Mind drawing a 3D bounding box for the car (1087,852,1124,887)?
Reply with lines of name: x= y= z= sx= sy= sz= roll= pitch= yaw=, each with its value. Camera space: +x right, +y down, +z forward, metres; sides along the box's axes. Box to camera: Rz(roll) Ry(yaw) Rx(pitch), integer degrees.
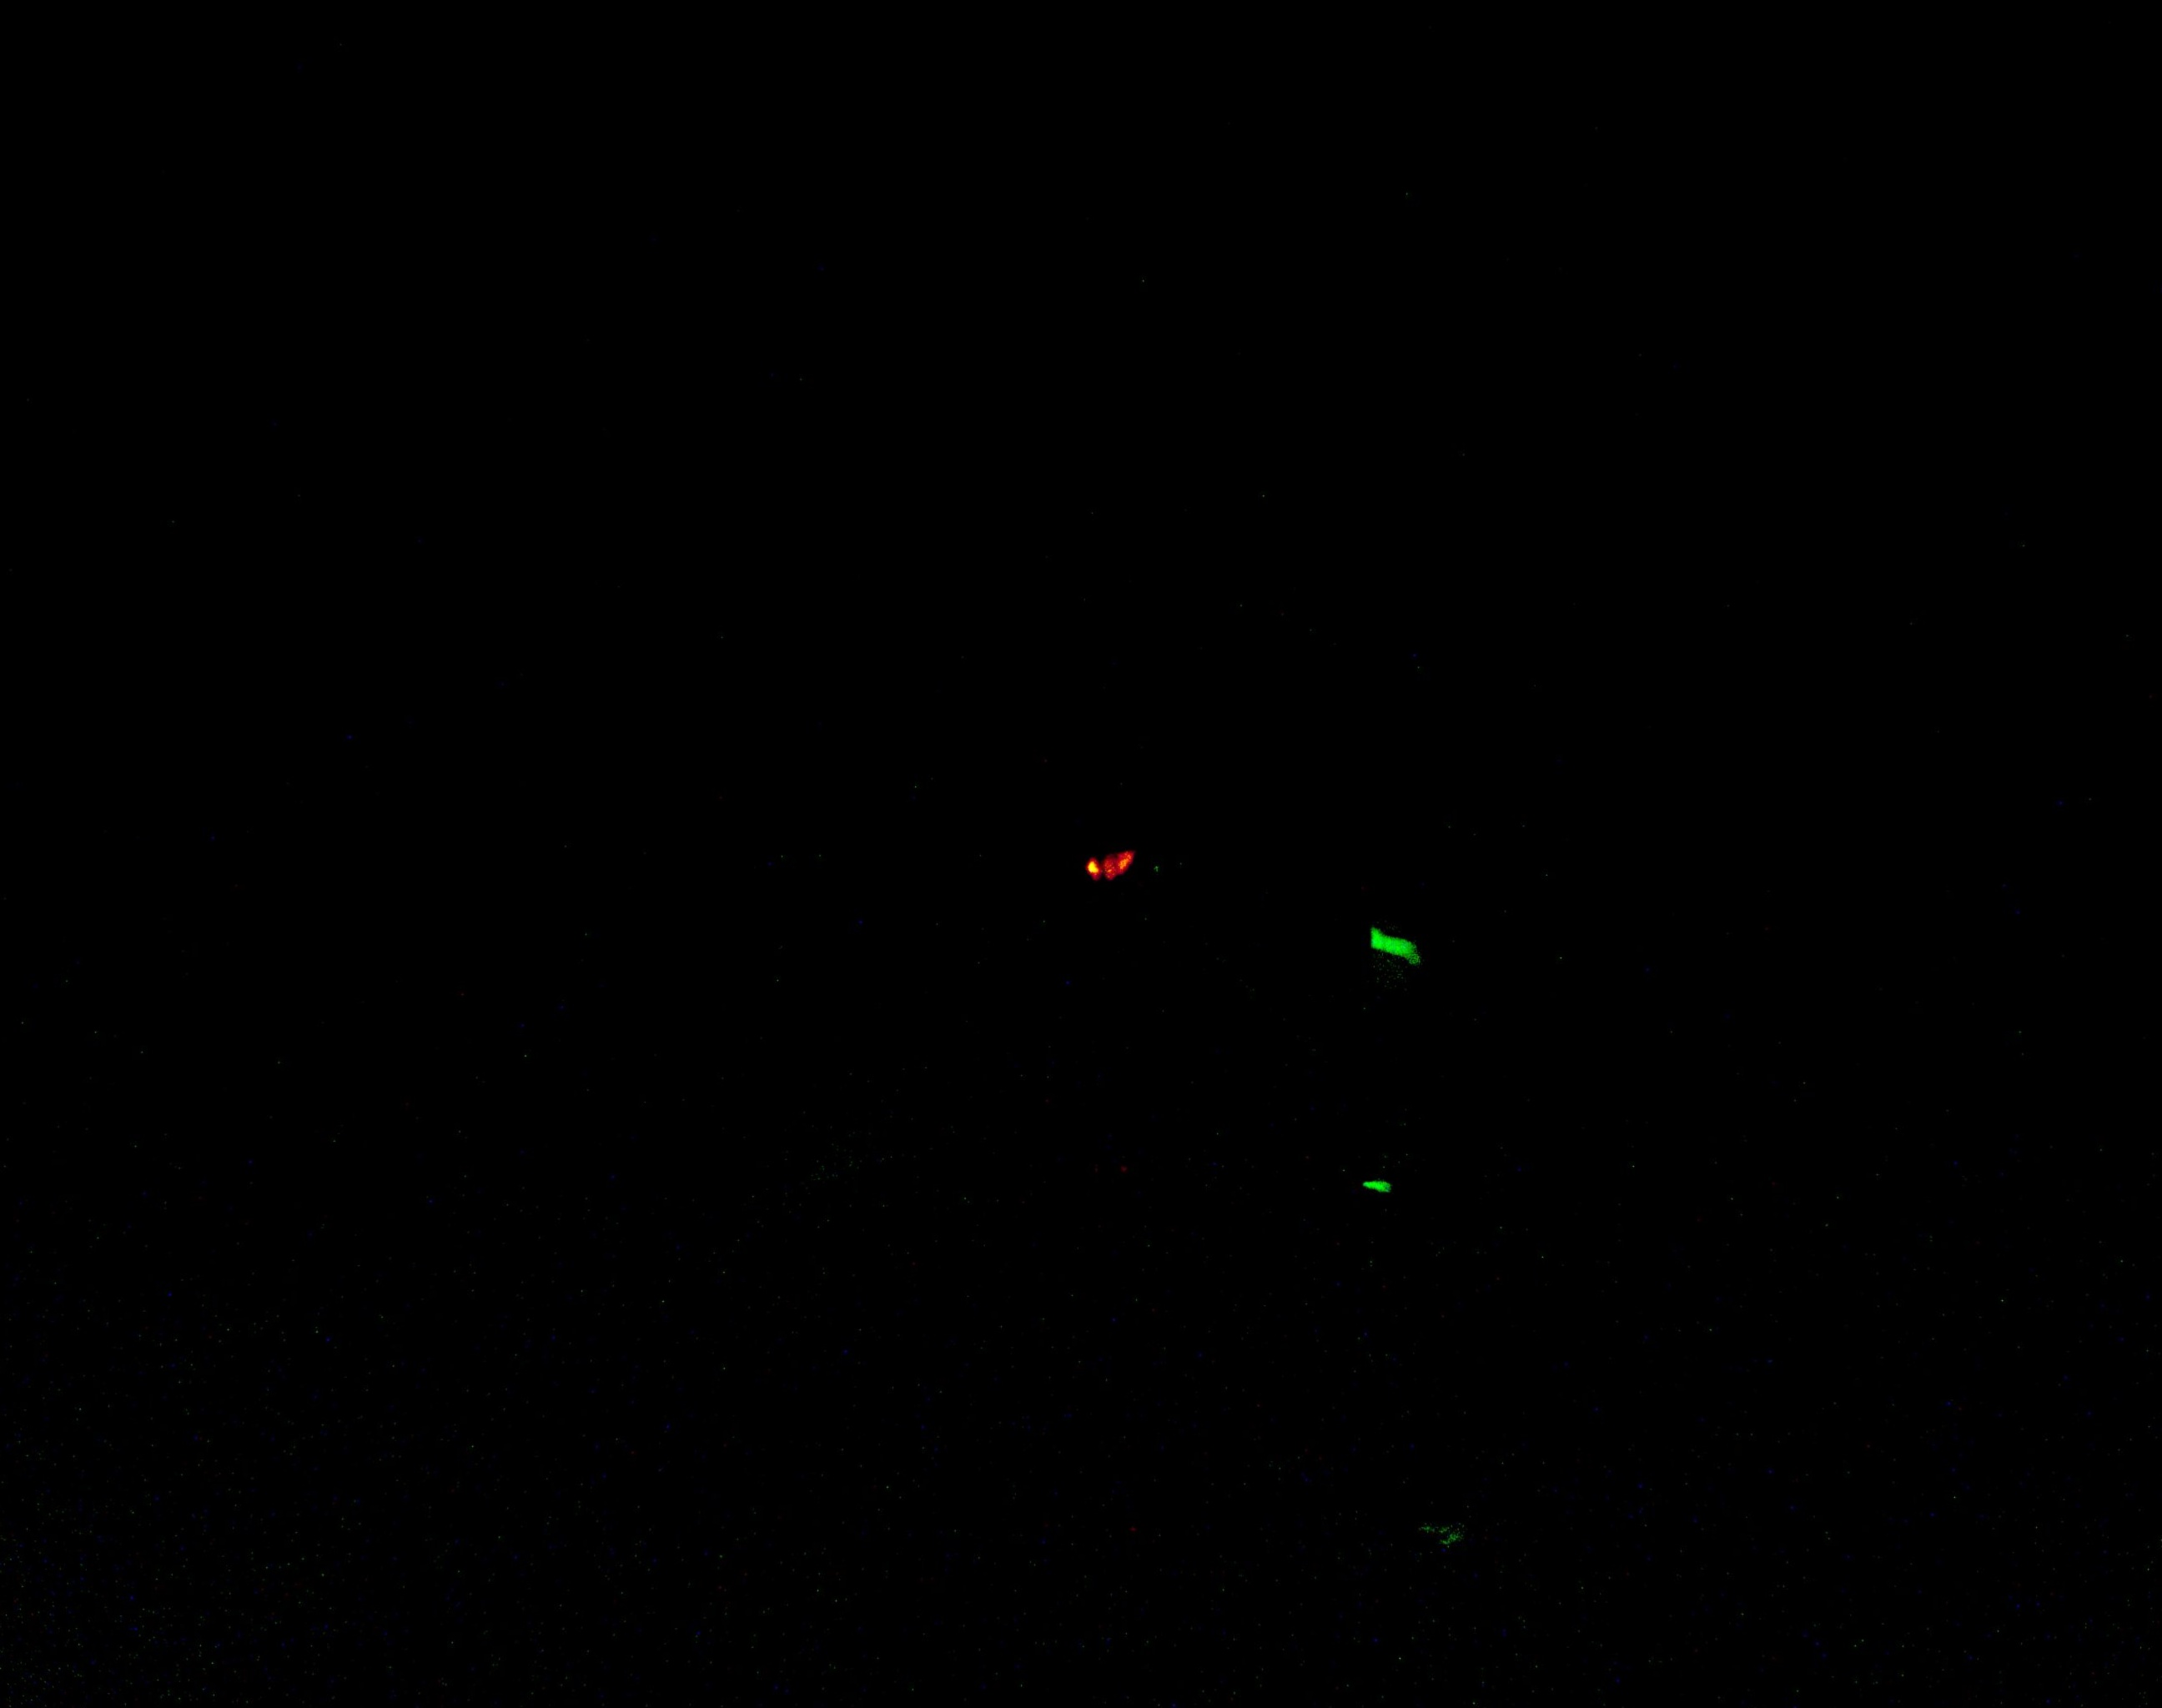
car: x=1.324 y=0.798 z=43.289 sx=1.835 sy=1.740 sz=4.003 roll=-2 pitch=0 yaw=3
